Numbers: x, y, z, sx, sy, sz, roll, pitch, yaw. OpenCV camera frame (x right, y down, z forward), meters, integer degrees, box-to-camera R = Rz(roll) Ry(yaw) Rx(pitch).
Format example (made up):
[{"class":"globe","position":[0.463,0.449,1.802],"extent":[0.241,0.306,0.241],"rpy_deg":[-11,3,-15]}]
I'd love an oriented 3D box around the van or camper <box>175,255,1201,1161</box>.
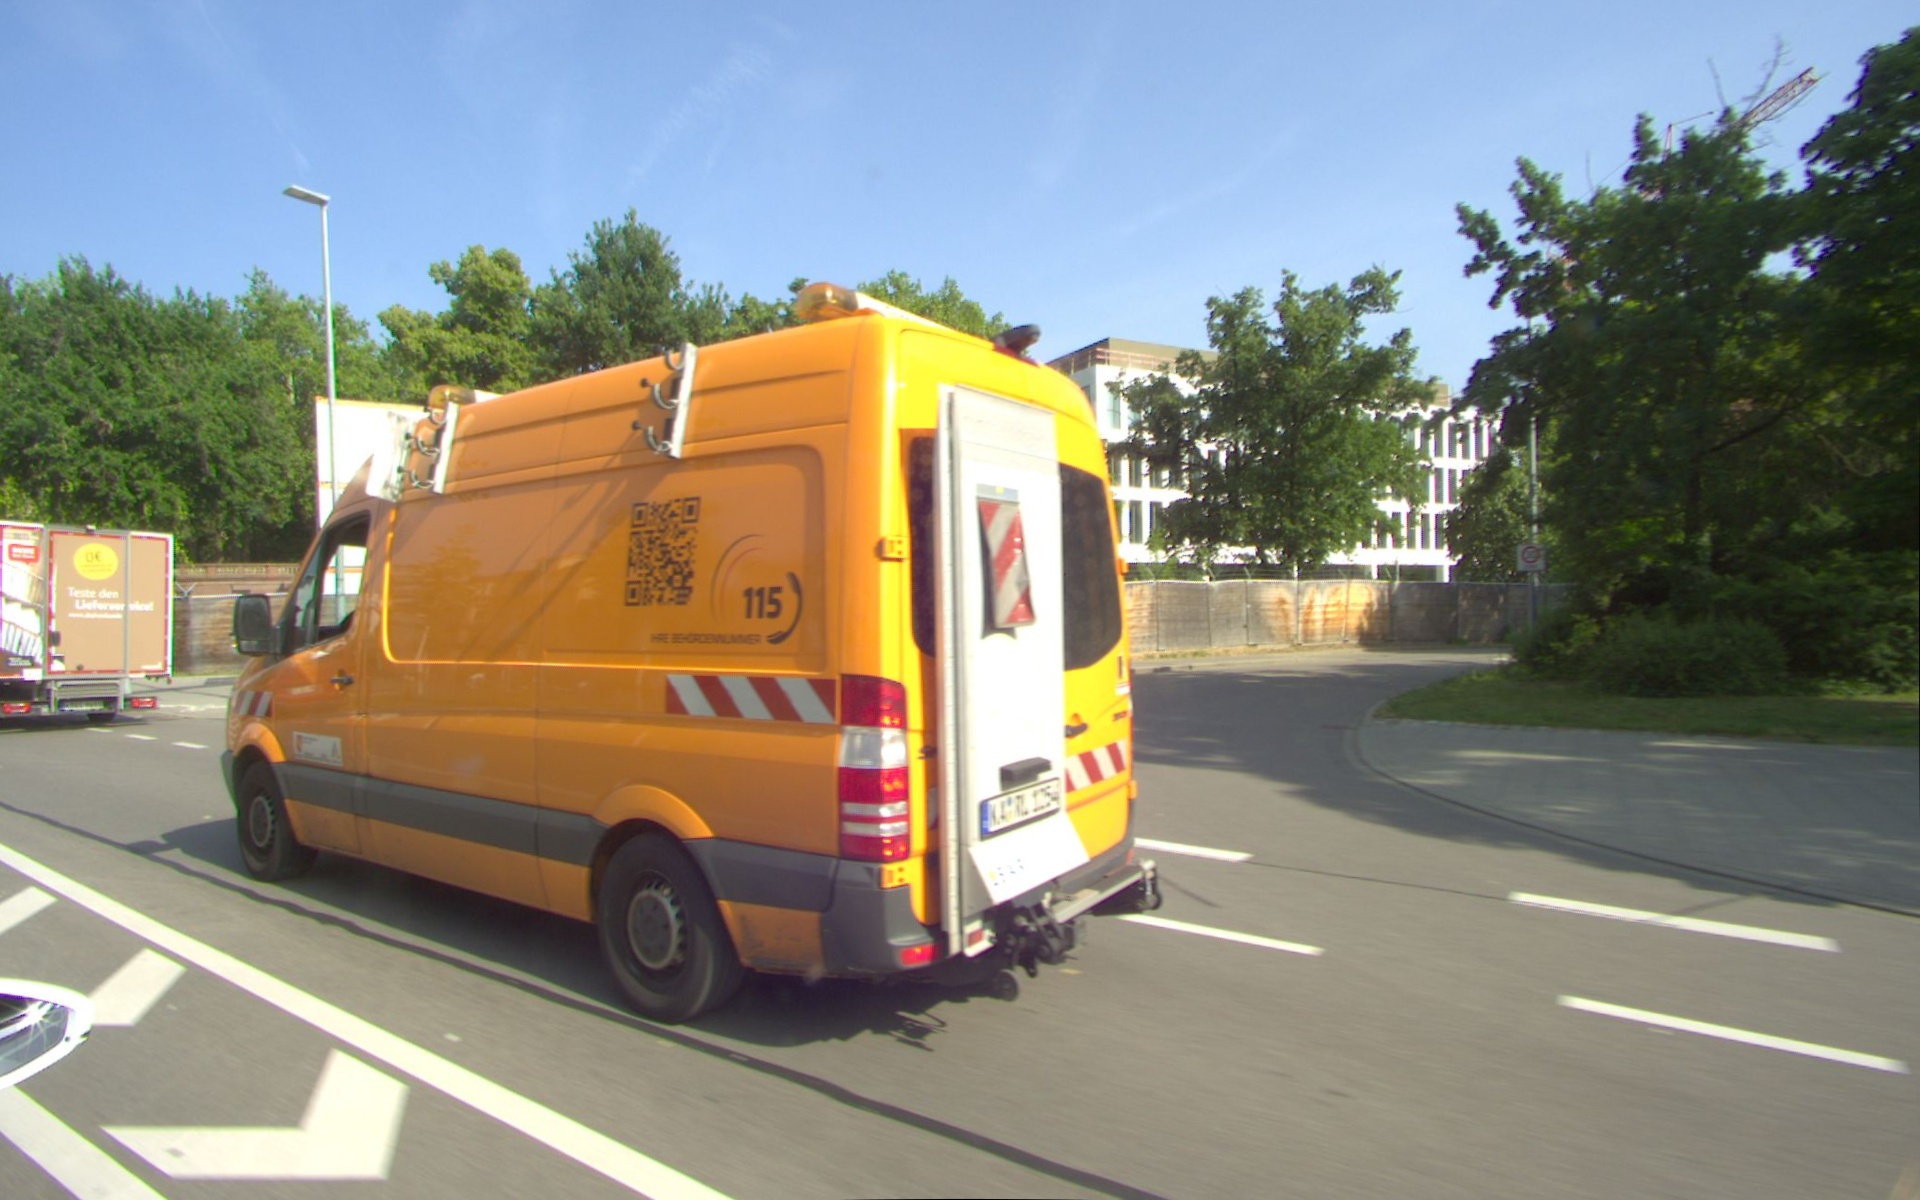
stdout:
[{"class":"van or camper","position":[-1.930,0.340,5.336],"extent":[5.981,2.504,1.980],"rpy_deg":[-1,0,36]}]

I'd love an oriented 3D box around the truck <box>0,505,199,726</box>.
[{"class":"truck","position":[-16.264,0.347,16.963],"extent":[7.702,3.099,2.500],"rpy_deg":[-1,-2,29]}]
